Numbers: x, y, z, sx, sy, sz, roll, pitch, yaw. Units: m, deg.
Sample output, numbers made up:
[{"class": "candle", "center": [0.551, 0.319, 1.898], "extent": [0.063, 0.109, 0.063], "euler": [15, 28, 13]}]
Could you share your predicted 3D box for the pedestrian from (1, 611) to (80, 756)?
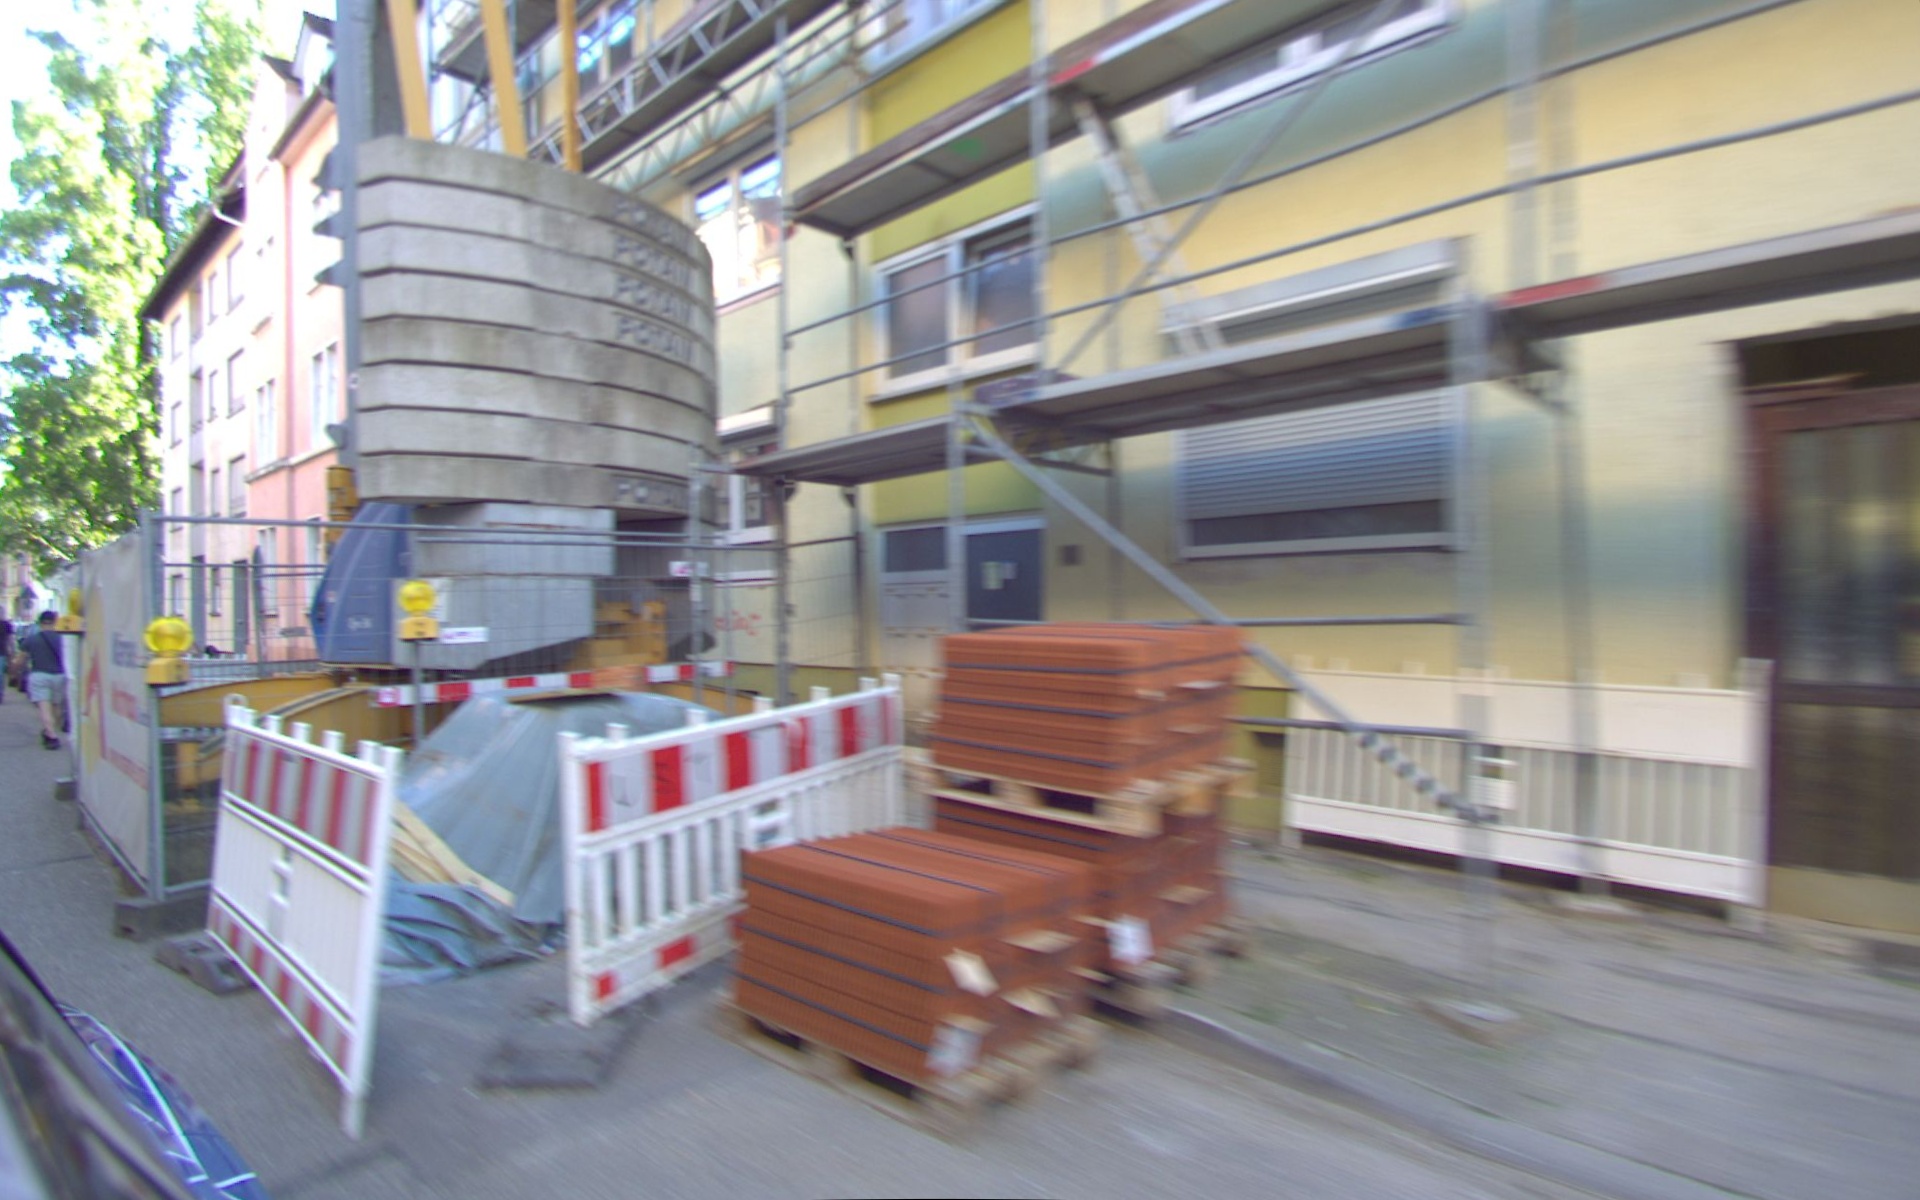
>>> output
[{"class": "pedestrian", "center": [-10.989, 0.975, 12.094], "extent": [0.813, 1.656, 0.586], "euler": [-2, -4, 44]}]

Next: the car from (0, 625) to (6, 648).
[{"class": "car", "center": [-65.417, 2.422, 67.780], "extent": [2.137, 1.529, 5.380], "euler": [2, -3, -44]}]

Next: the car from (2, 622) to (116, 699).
[{"class": "car", "center": [-20.475, 1.319, 22.947], "extent": [4.250, 1.586, 1.624], "euler": [-2, -3, 45]}]

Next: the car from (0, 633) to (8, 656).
[{"class": "car", "center": [-56.159, 2.563, 58.302], "extent": [4.250, 1.311, 1.735], "euler": [-2, -3, 45]}]

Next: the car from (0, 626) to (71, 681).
[{"class": "car", "center": [-27.460, 1.546, 29.961], "extent": [3.662, 1.533, 1.444], "euler": [-2, -3, 45]}]

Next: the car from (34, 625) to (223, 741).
[{"class": "car", "center": [-12.907, 1.158, 15.596], "extent": [4.698, 1.520, 1.747], "euler": [-2, -3, 45]}]

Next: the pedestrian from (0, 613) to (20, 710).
[{"class": "pedestrian", "center": [-17.883, 1.133, 18.674], "extent": [0.729, 1.767, 0.998], "euler": [1, -2, -45]}]

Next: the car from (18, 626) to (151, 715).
[{"class": "car", "center": [-16.922, 1.269, 19.504], "extent": [4.002, 1.503, 1.624], "euler": [-2, -1, 45]}]
